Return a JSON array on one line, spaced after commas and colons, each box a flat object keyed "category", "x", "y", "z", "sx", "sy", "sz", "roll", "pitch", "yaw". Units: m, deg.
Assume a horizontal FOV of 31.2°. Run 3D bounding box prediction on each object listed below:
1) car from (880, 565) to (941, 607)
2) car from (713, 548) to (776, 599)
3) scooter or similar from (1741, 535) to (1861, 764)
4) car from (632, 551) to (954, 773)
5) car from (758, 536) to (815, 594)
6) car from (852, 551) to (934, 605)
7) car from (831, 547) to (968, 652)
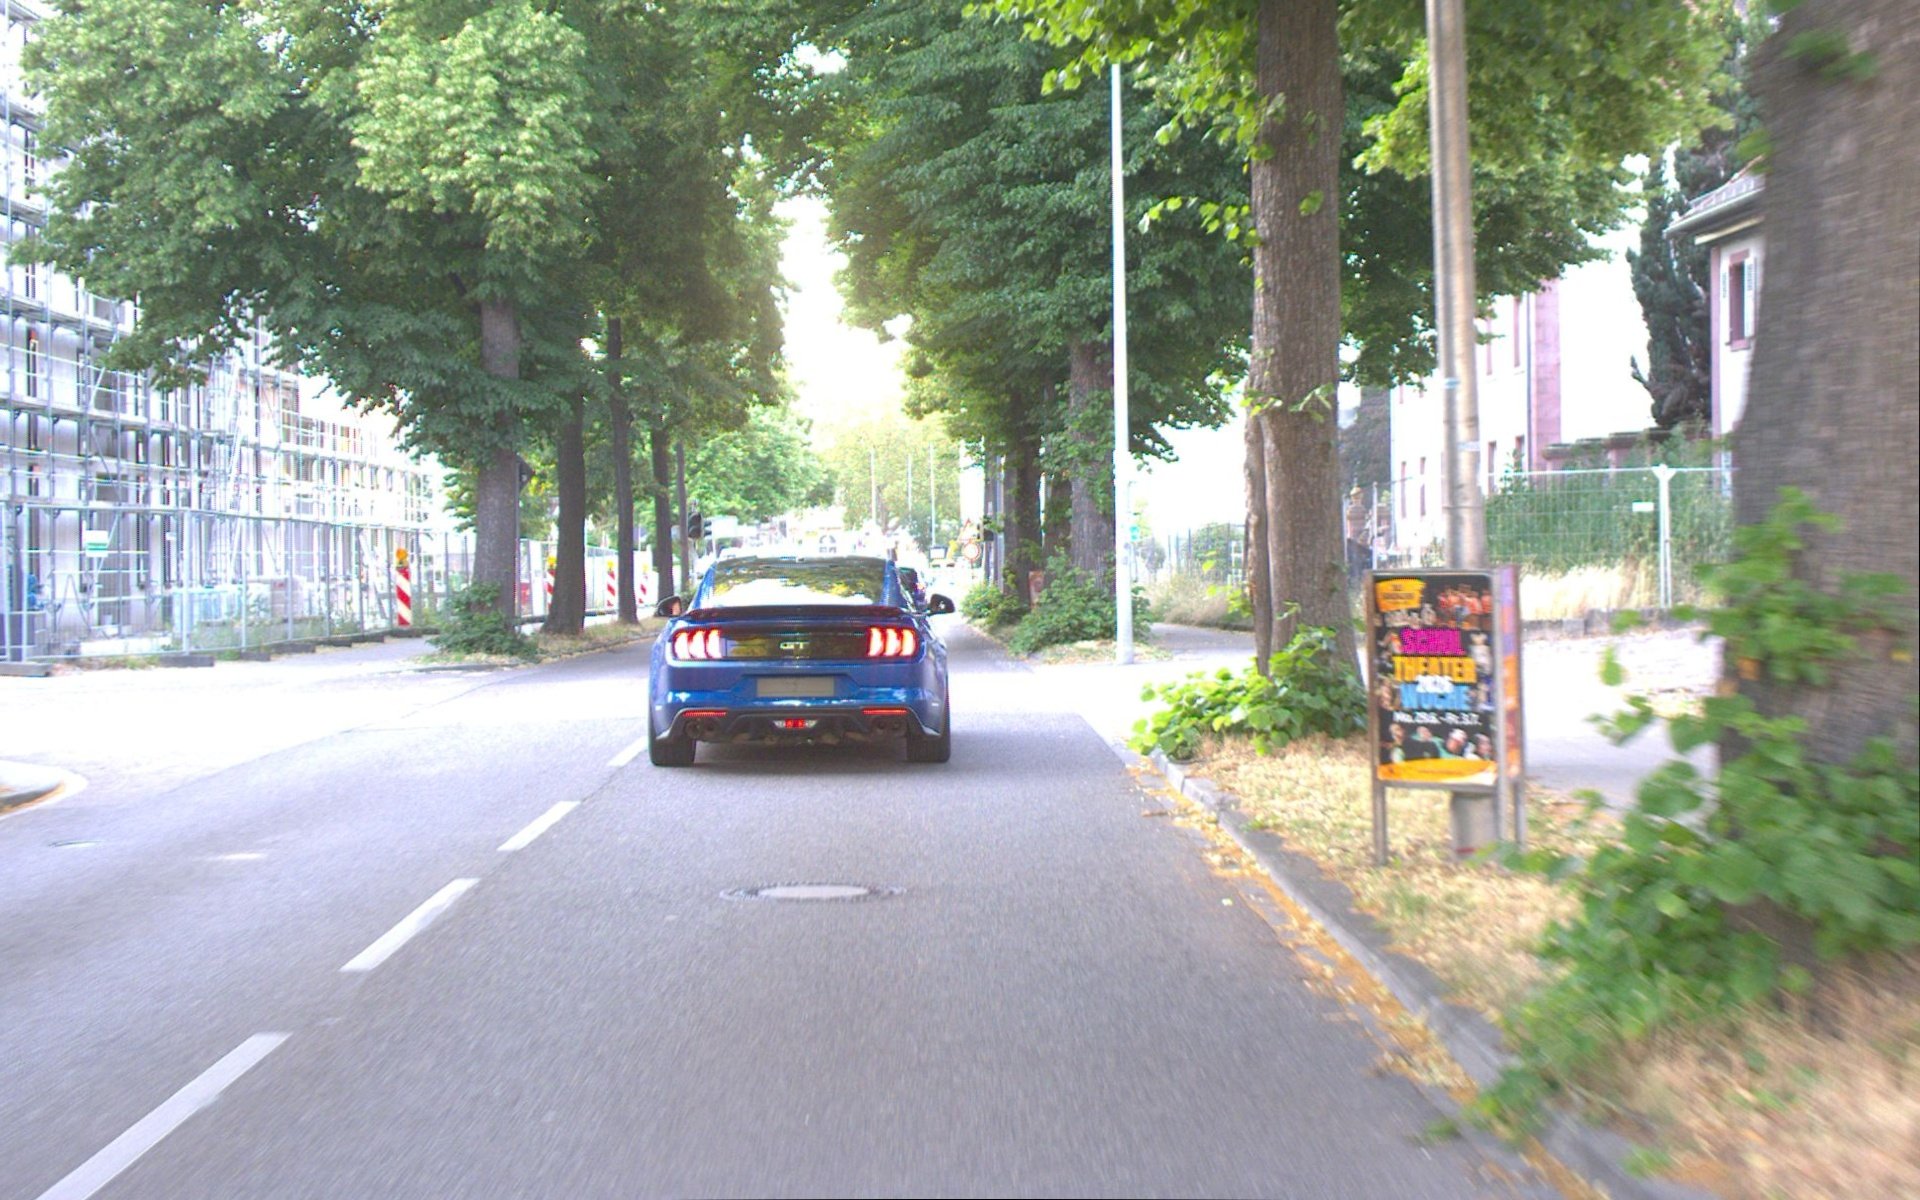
[{"category": "car", "x": -1.633, "y": -0.484, "z": 113.656, "sx": 1.947, "sy": 1.322, "sz": 4.000, "roll": 1, "pitch": 1, "yaw": -1}, {"category": "car", "x": -9.529, "y": -1.182, "z": 152.271, "sx": 2.336, "sy": 2.190, "sz": 5.309, "roll": -1, "pitch": 1, "yaw": 1}, {"category": "scooter or similar", "x": 4.838, "y": 0.274, "z": 19.820, "sx": 0.239, "sy": 1.271, "sz": 1.267, "roll": -1, "pitch": 0, "yaw": -6}, {"category": "car", "x": -1.050, "y": 0.350, "z": 22.968, "sx": 1.947, "sy": 1.322, "sz": 4.000, "roll": 1, "pitch": 1, "yaw": -1}, {"category": "car", "x": -8.242, "y": -1.678, "z": 163.603, "sx": 2.492, "sy": 2.687, "sz": 5.831, "roll": -1, "pitch": 1, "yaw": -1}, {"category": "car", "x": -1.710, "y": -0.587, "z": 88.768, "sx": 1.947, "sy": 1.322, "sz": 4.000, "roll": 1, "pitch": 1, "yaw": 1}, {"category": "car", "x": -0.888, "y": -0.033, "z": 52.855, "sx": 1.947, "sy": 1.522, "sz": 4.000, "roll": 1, "pitch": 1, "yaw": 1}]
